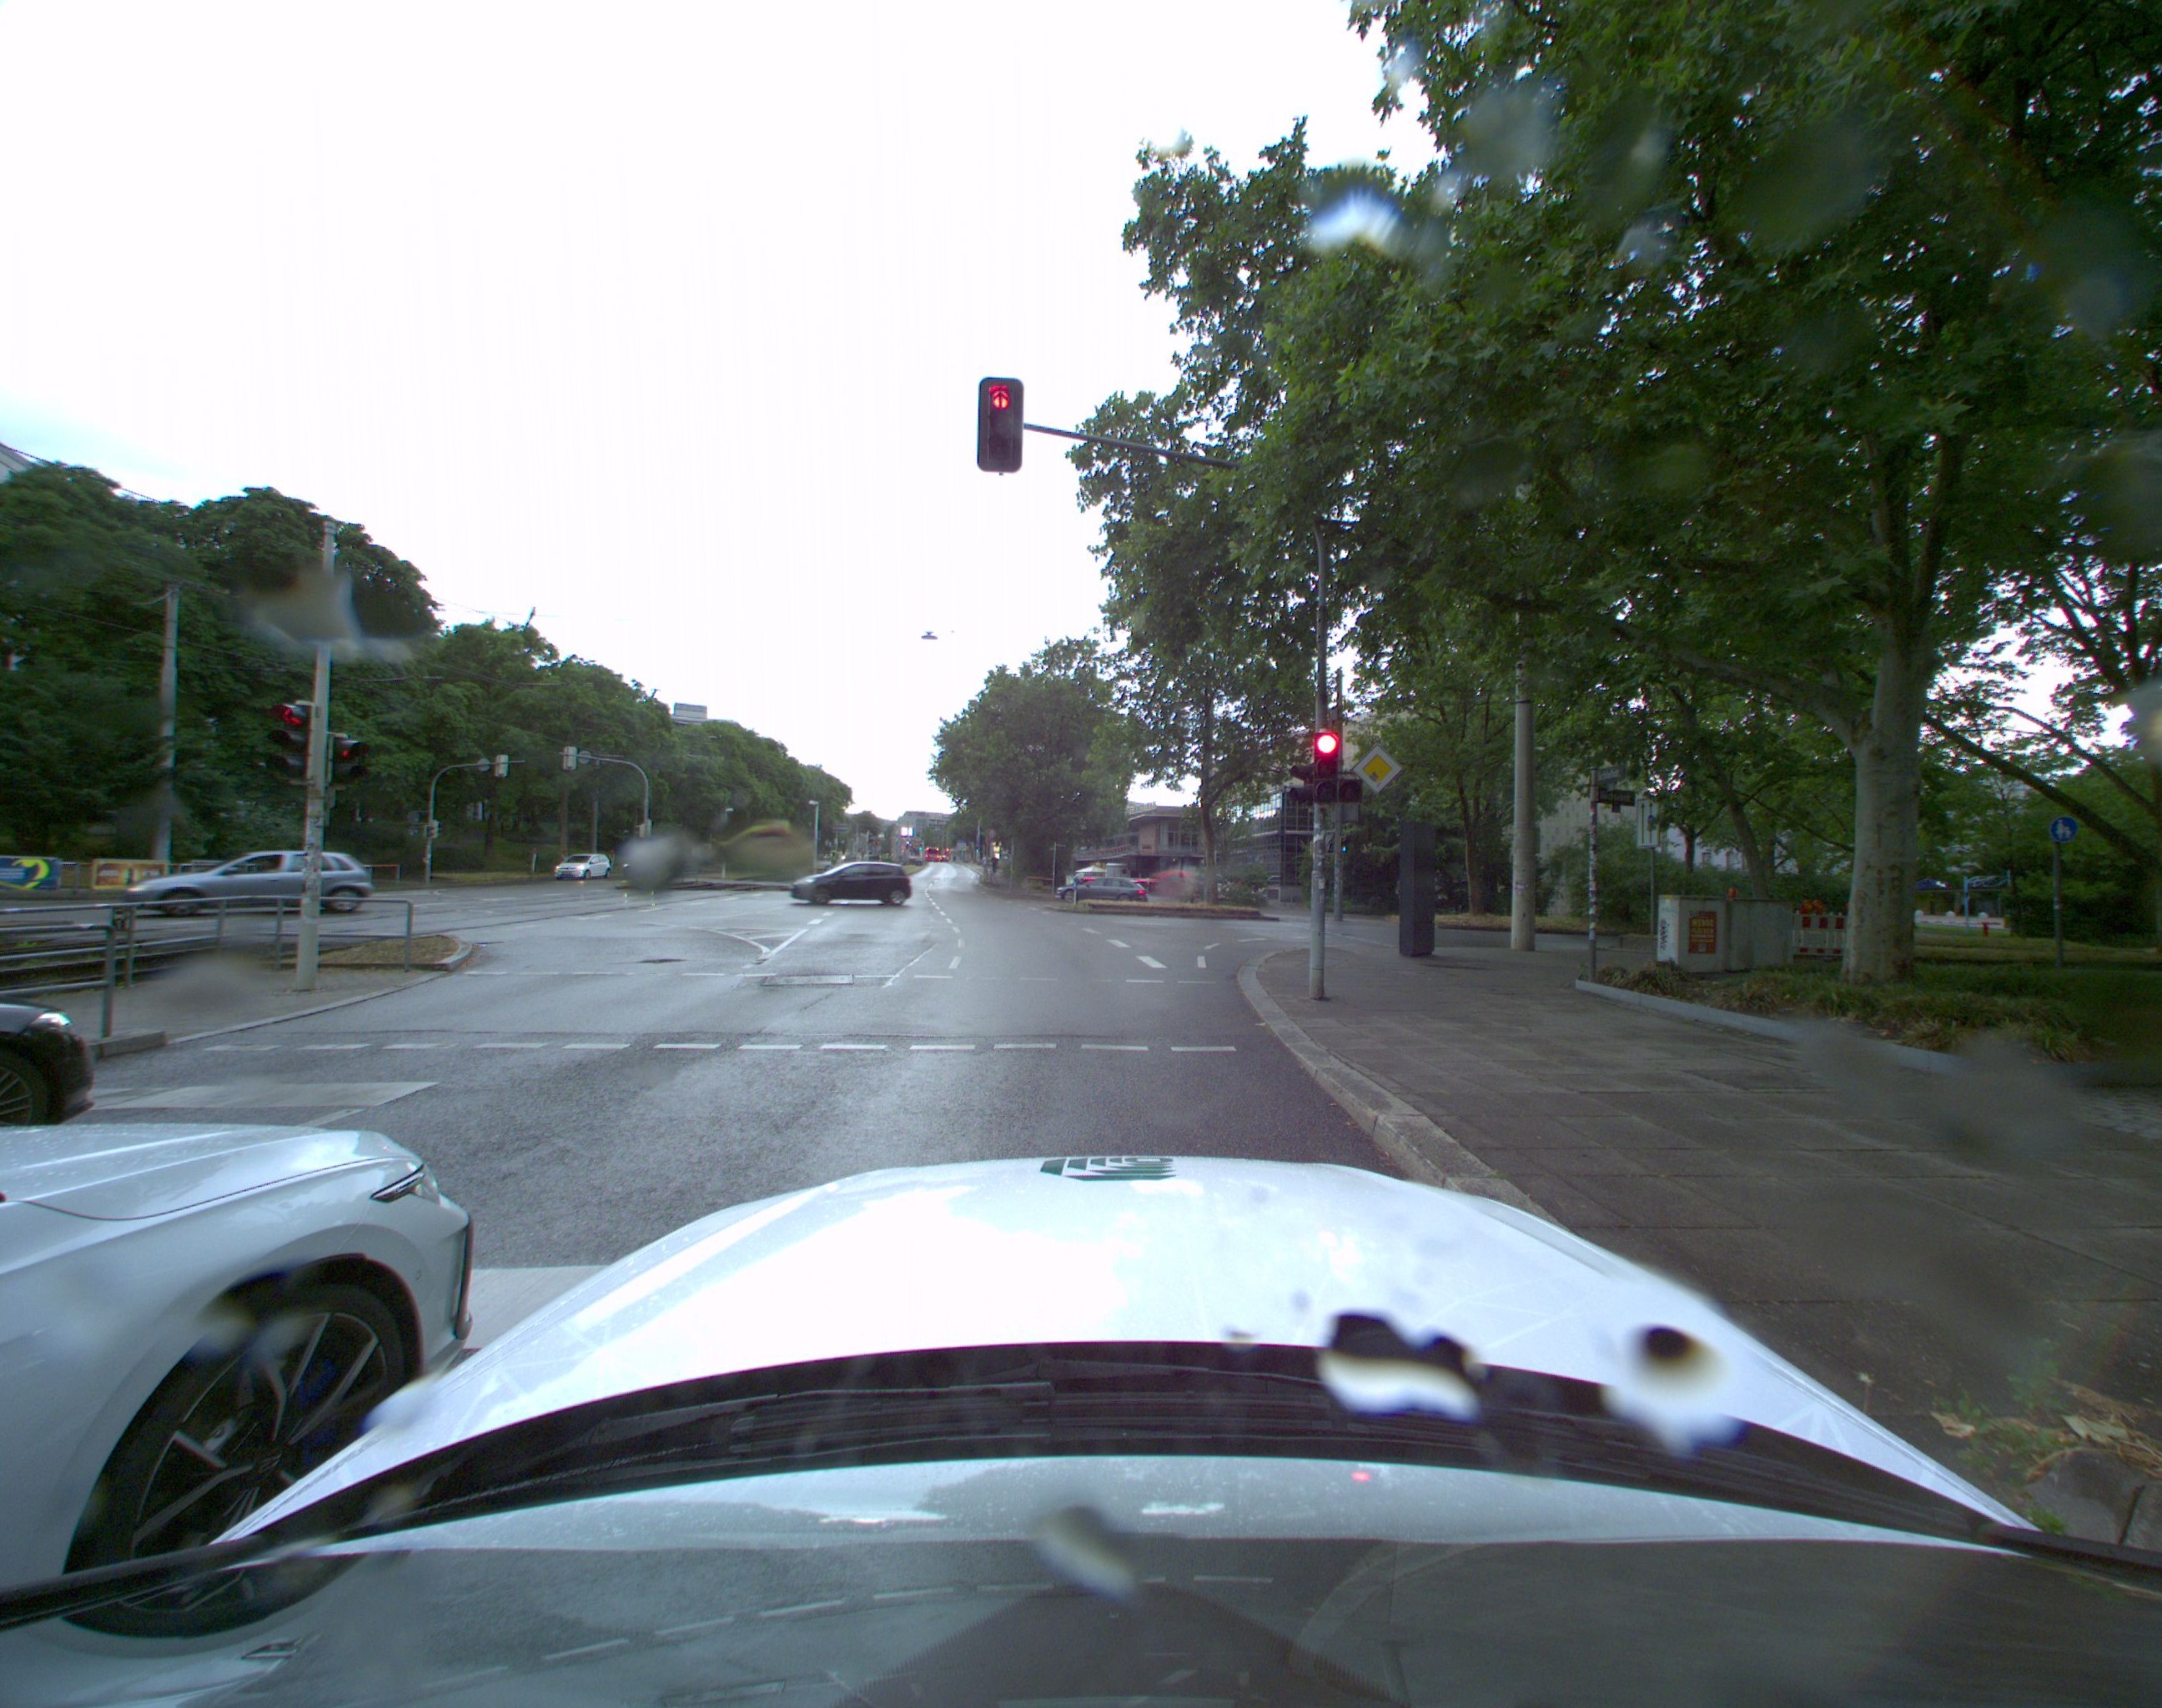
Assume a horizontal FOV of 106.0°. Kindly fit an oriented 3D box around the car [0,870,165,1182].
[{"bbox_3d":[-5.969,0.796,2.216,1.789,1.442,4.477,0,0,2],"label":"car"}]

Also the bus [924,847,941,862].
[{"bbox_3d":[-32.428,0.112,177.475,3.591,3.171,10.381,0,-1,-11],"label":"bus"}]

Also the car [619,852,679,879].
[{"bbox_3d":[-26.055,0.682,49.233,1.917,1.546,3.674,1,-1,-5],"label":"car"}]

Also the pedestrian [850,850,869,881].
[{"bbox_3d":[-13.266,0.698,48.789,0.863,1.802,0.871,2,-1,-2],"label":"pedestrian"}]

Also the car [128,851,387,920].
[{"bbox_3d":[-18.450,0.672,18.406,1.612,1.357,3.895,1,-1,37],"label":"car"}]

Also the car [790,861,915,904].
[{"bbox_3d":[-7.820,0.989,27.946,3.878,1.357,1.619,2,-1,-26],"label":"car"}]

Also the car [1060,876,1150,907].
[{"bbox_3d":[1.259,1.909,41.929,4.308,1.519,2.006,-1,-1,11],"label":"car"}]

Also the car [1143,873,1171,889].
[{"bbox_3d":[8.282,2.912,89.195,2.020,1.551,4.334,2,0,-10],"label":"car"}]

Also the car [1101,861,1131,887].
[{"bbox_3d":[3.877,2.153,91.548,2.725,2.695,6.916,2,0,-2],"label":"car"}]

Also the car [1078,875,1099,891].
[{"bbox_3d":[0.861,3.069,88.063,2.010,1.551,4.355,2,0,4],"label":"car"}]

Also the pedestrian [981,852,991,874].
[{"bbox_3d":[-8.653,0.828,74.226,0.813,2.014,1.075,0,-1,-6],"label":"pedestrian"}]

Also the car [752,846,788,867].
[{"bbox_3d":[-28.742,0.237,75.497,1.917,1.851,4.558,1,-1,-5],"label":"car"}]

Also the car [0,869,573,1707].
[{"bbox_3d":[-2.520,0.755,0.262,1.789,1.442,4.477,0,0,2],"label":"car"}]

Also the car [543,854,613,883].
[{"bbox_3d":[-29.001,0.831,47.089,1.917,1.546,3.674,1,-1,-5],"label":"car"}]

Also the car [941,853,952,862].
[{"bbox_3d":[-30.112,0.812,182.390,2.364,1.817,5.164,0,-1,-11],"label":"car"}]

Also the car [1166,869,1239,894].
[{"bbox_3d":[9.276,2.125,62.112,5.221,1.731,1.860,2,-1,-23],"label":"car"}]

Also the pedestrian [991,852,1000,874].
[{"bbox_3d":[-7.798,0.823,74.322,0.873,2.014,1.075,0,-1,-6],"label":"pedestrian"}]
